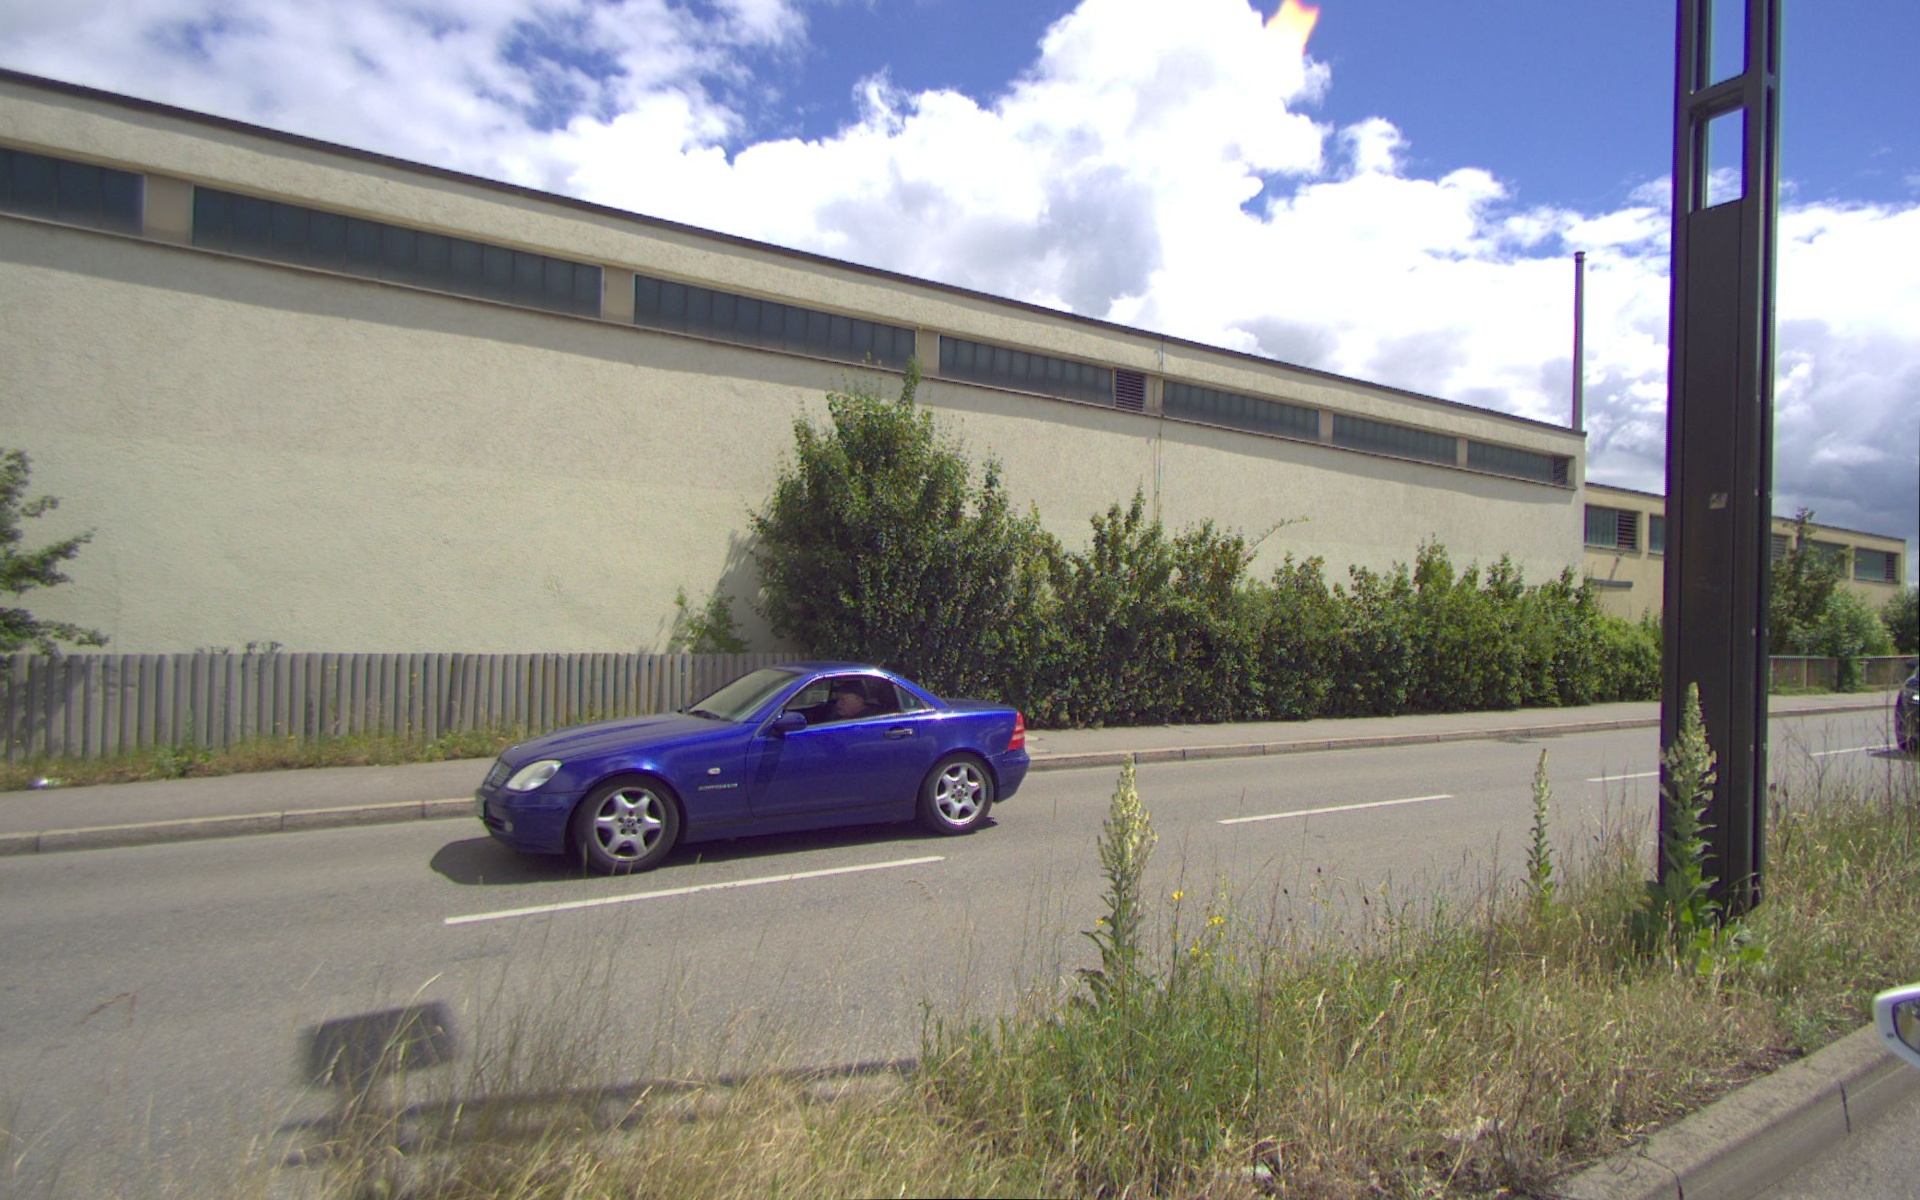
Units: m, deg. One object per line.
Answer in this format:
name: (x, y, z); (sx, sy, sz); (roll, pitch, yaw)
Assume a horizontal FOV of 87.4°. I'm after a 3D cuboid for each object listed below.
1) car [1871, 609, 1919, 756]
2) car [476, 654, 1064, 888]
car: (14.815, 1.118, 13.993); (4.816, 1.913, 1.982); (1, -1, -33)
car: (-1.334, 1.062, 7.464); (3.953, 1.292, 1.746); (1, -3, -31)
